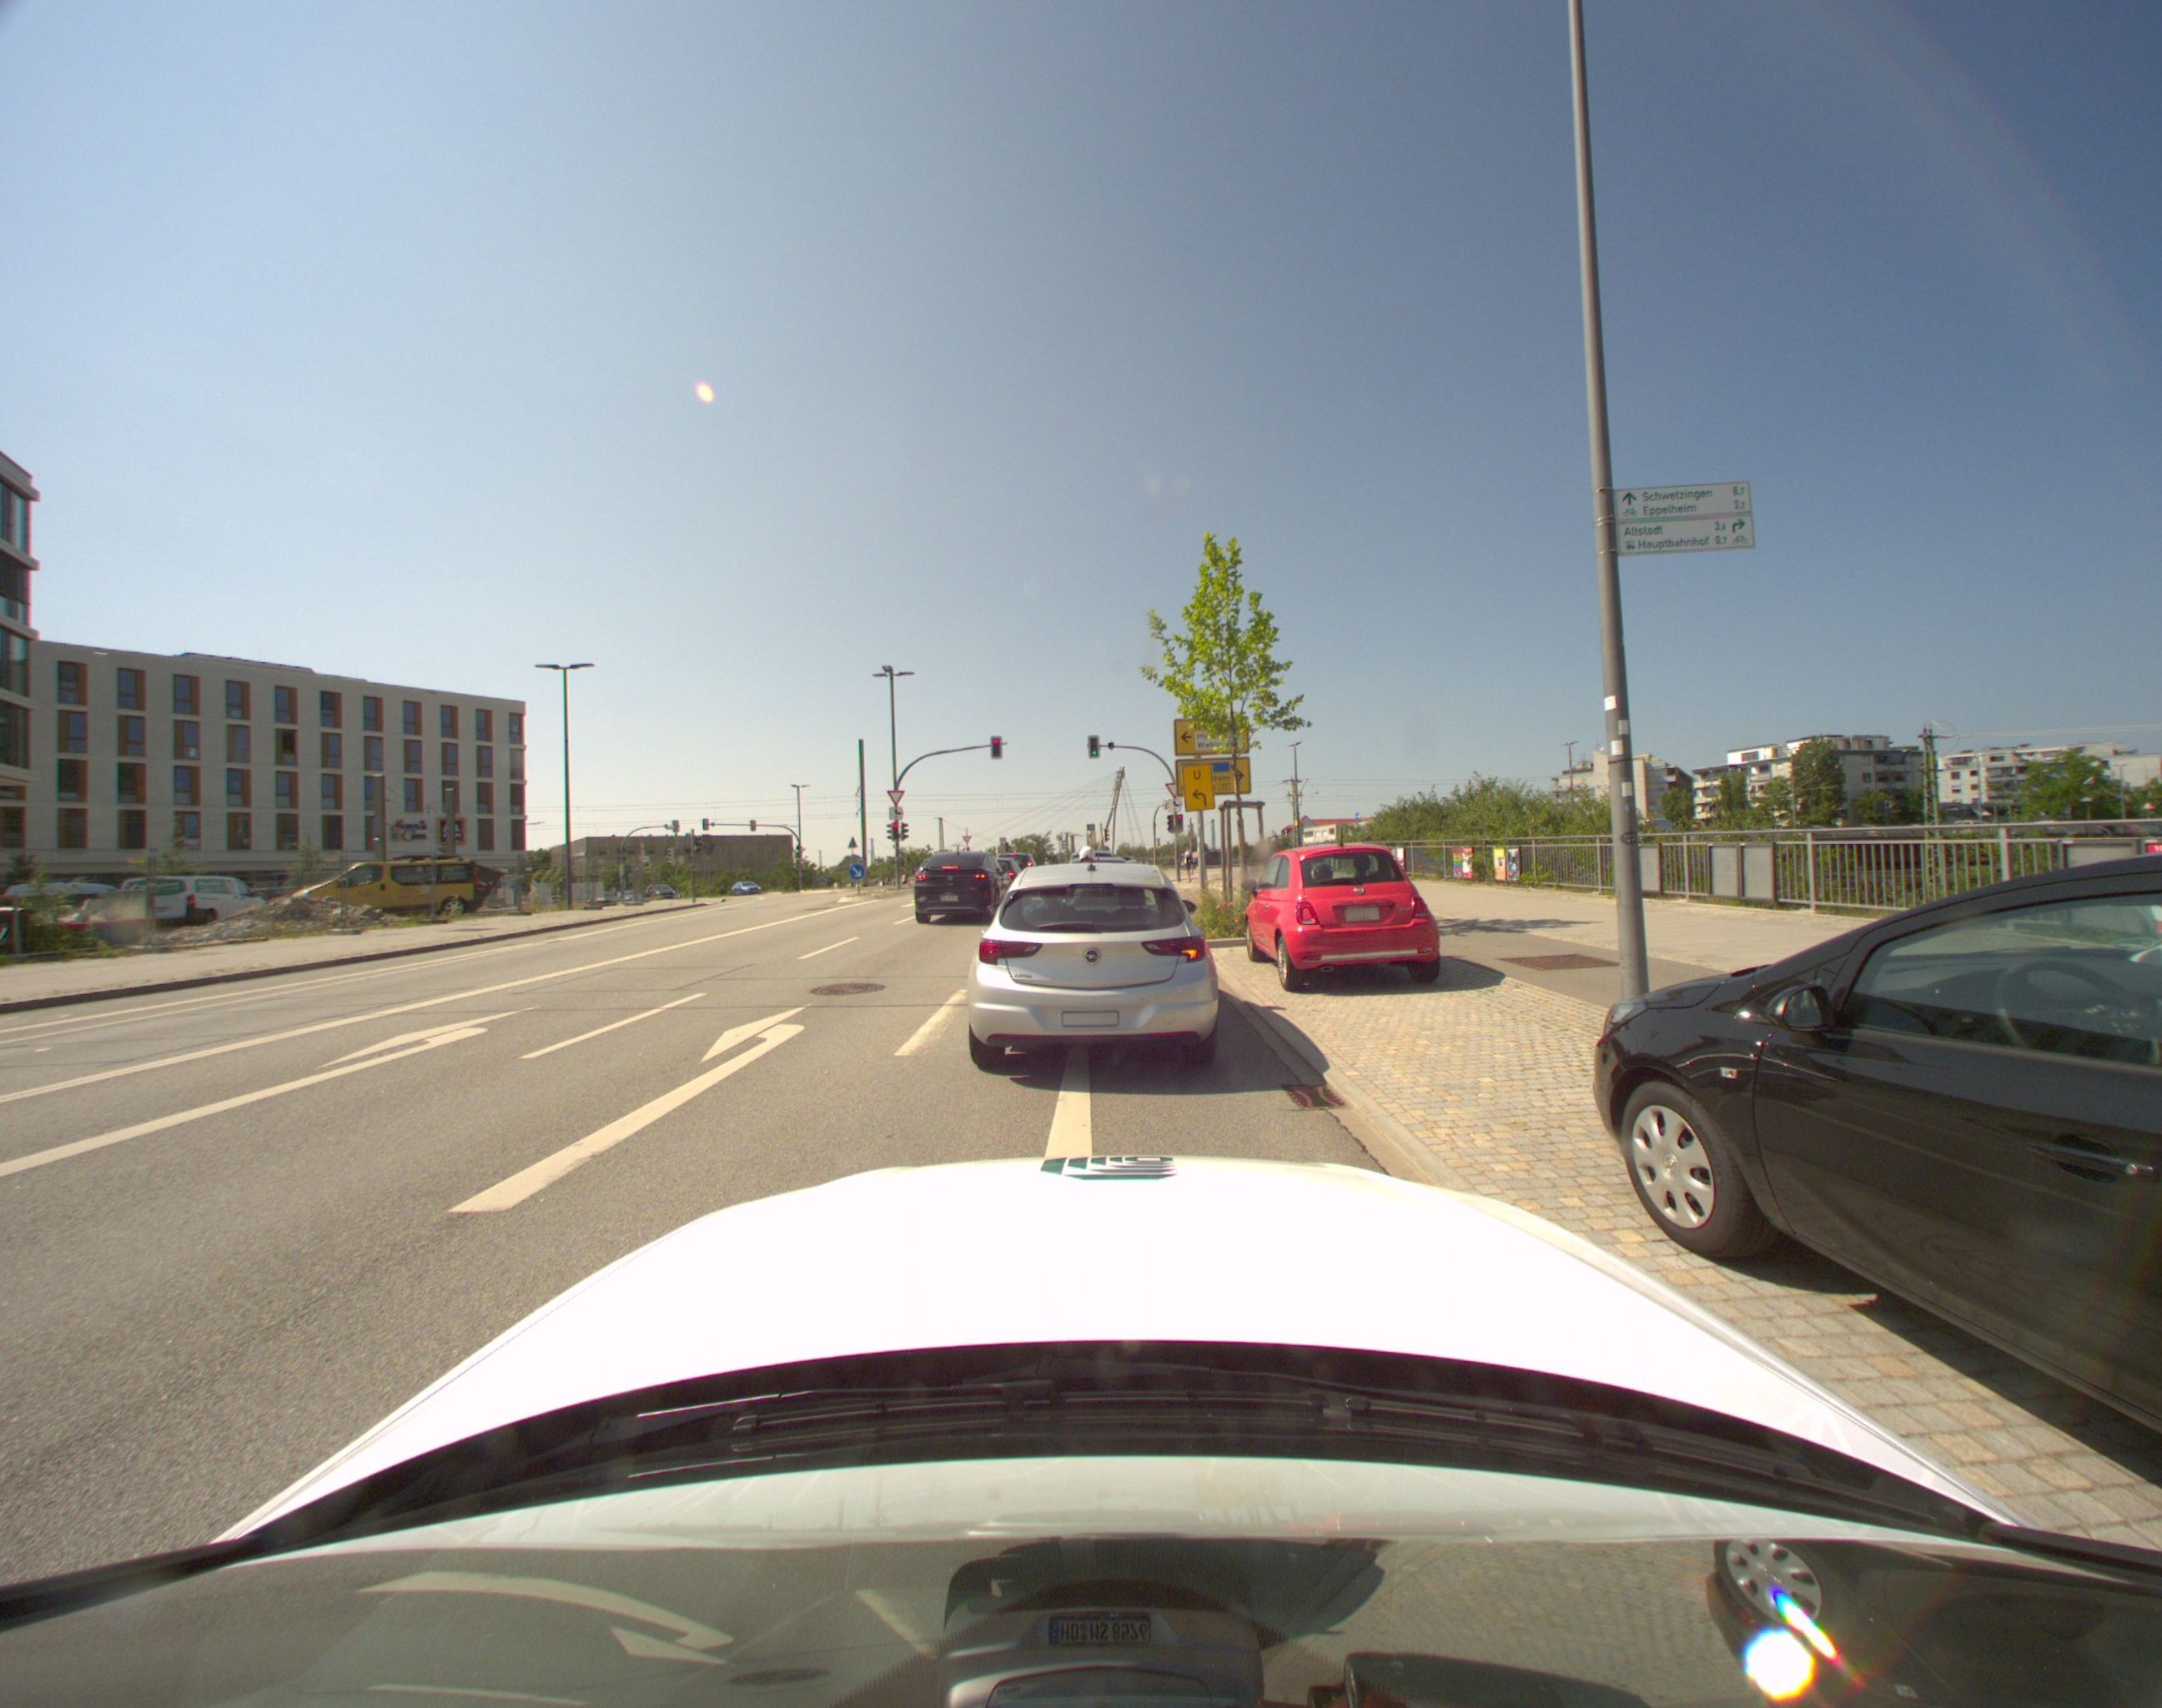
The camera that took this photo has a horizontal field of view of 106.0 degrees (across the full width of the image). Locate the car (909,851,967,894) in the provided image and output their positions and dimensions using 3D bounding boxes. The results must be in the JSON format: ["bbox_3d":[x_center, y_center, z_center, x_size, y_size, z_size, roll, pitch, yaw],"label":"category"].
[{"bbox_3d":[-5.415,0.693,31.245,1.592,1.547,3.761,0,-1,0],"label":"car"}]

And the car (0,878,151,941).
[{"bbox_3d":[-33.554,1.780,27.273,1.794,1.857,3.818,1,-1,-26],"label":"car"}]

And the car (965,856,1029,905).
[{"bbox_3d":[-2.606,0.795,25.901,1.569,1.434,3.786,0,-1,1],"label":"car"}]

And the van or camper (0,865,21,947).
[{"bbox_3d":[-36.464,1.719,25.285,2.318,2.735,4.944,0,-1,-26],"label":"van or camper"}]

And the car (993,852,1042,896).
[{"bbox_3d":[-2.434,0.749,31.833,1.644,1.615,3.819,0,-1,0],"label":"car"}]

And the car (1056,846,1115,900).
[{"bbox_3d":[0.215,0.549,26.002,1.717,1.563,4.002,0,1,2],"label":"car"}]

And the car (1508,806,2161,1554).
[{"bbox_3d":[2.880,0.592,1.928,1.654,1.426,4.001,-4,-1,1],"label":"car"}]

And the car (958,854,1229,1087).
[{"bbox_3d":[0.062,0.765,7.249,1.738,1.478,3.998,0,-1,-1],"label":"car"}]

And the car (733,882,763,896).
[{"bbox_3d":[-33.181,3.491,81.081,1.831,1.331,3.954,0,-2,-38],"label":"car"}]

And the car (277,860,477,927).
[{"bbox_3d":[-22.708,1.193,26.427,1.964,1.962,4.655,-1,-1,40],"label":"car"}]

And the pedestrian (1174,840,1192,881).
[{"bbox_3d":[4.686,0.316,37.358,0.645,1.836,0.798,-3,-1,0],"label":"pedestrian"}]

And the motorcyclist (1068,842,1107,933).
[{"bbox_3d":[0.106,0.512,12.726,0.580,1.389,0.707,0,-1,0],"label":"motorcyclist"}]

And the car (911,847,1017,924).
[{"bbox_3d":[-2.686,0.692,19.654,1.795,1.641,4.367,0,-1,2],"label":"car"}]

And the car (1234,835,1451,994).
[{"bbox_3d":[2.922,0.604,9.811,1.603,1.496,3.355,-4,0,3],"label":"car"}]

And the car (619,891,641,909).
[{"bbox_3d":[-45.238,4.594,81.687,1.578,1.587,3.441,0,-1,-35],"label":"car"}]

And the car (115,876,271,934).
[{"bbox_3d":[-31.048,1.692,28.687,1.873,1.774,4.619,0,-1,-22],"label":"car"}]

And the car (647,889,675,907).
[{"bbox_3d":[-38.593,4.023,74.830,1.686,1.476,3.368,-2,0,-37],"label":"car"}]

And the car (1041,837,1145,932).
[{"bbox_3d":[0.303,0.562,17.902,1.986,1.820,4.404,0,0,2],"label":"car"}]
